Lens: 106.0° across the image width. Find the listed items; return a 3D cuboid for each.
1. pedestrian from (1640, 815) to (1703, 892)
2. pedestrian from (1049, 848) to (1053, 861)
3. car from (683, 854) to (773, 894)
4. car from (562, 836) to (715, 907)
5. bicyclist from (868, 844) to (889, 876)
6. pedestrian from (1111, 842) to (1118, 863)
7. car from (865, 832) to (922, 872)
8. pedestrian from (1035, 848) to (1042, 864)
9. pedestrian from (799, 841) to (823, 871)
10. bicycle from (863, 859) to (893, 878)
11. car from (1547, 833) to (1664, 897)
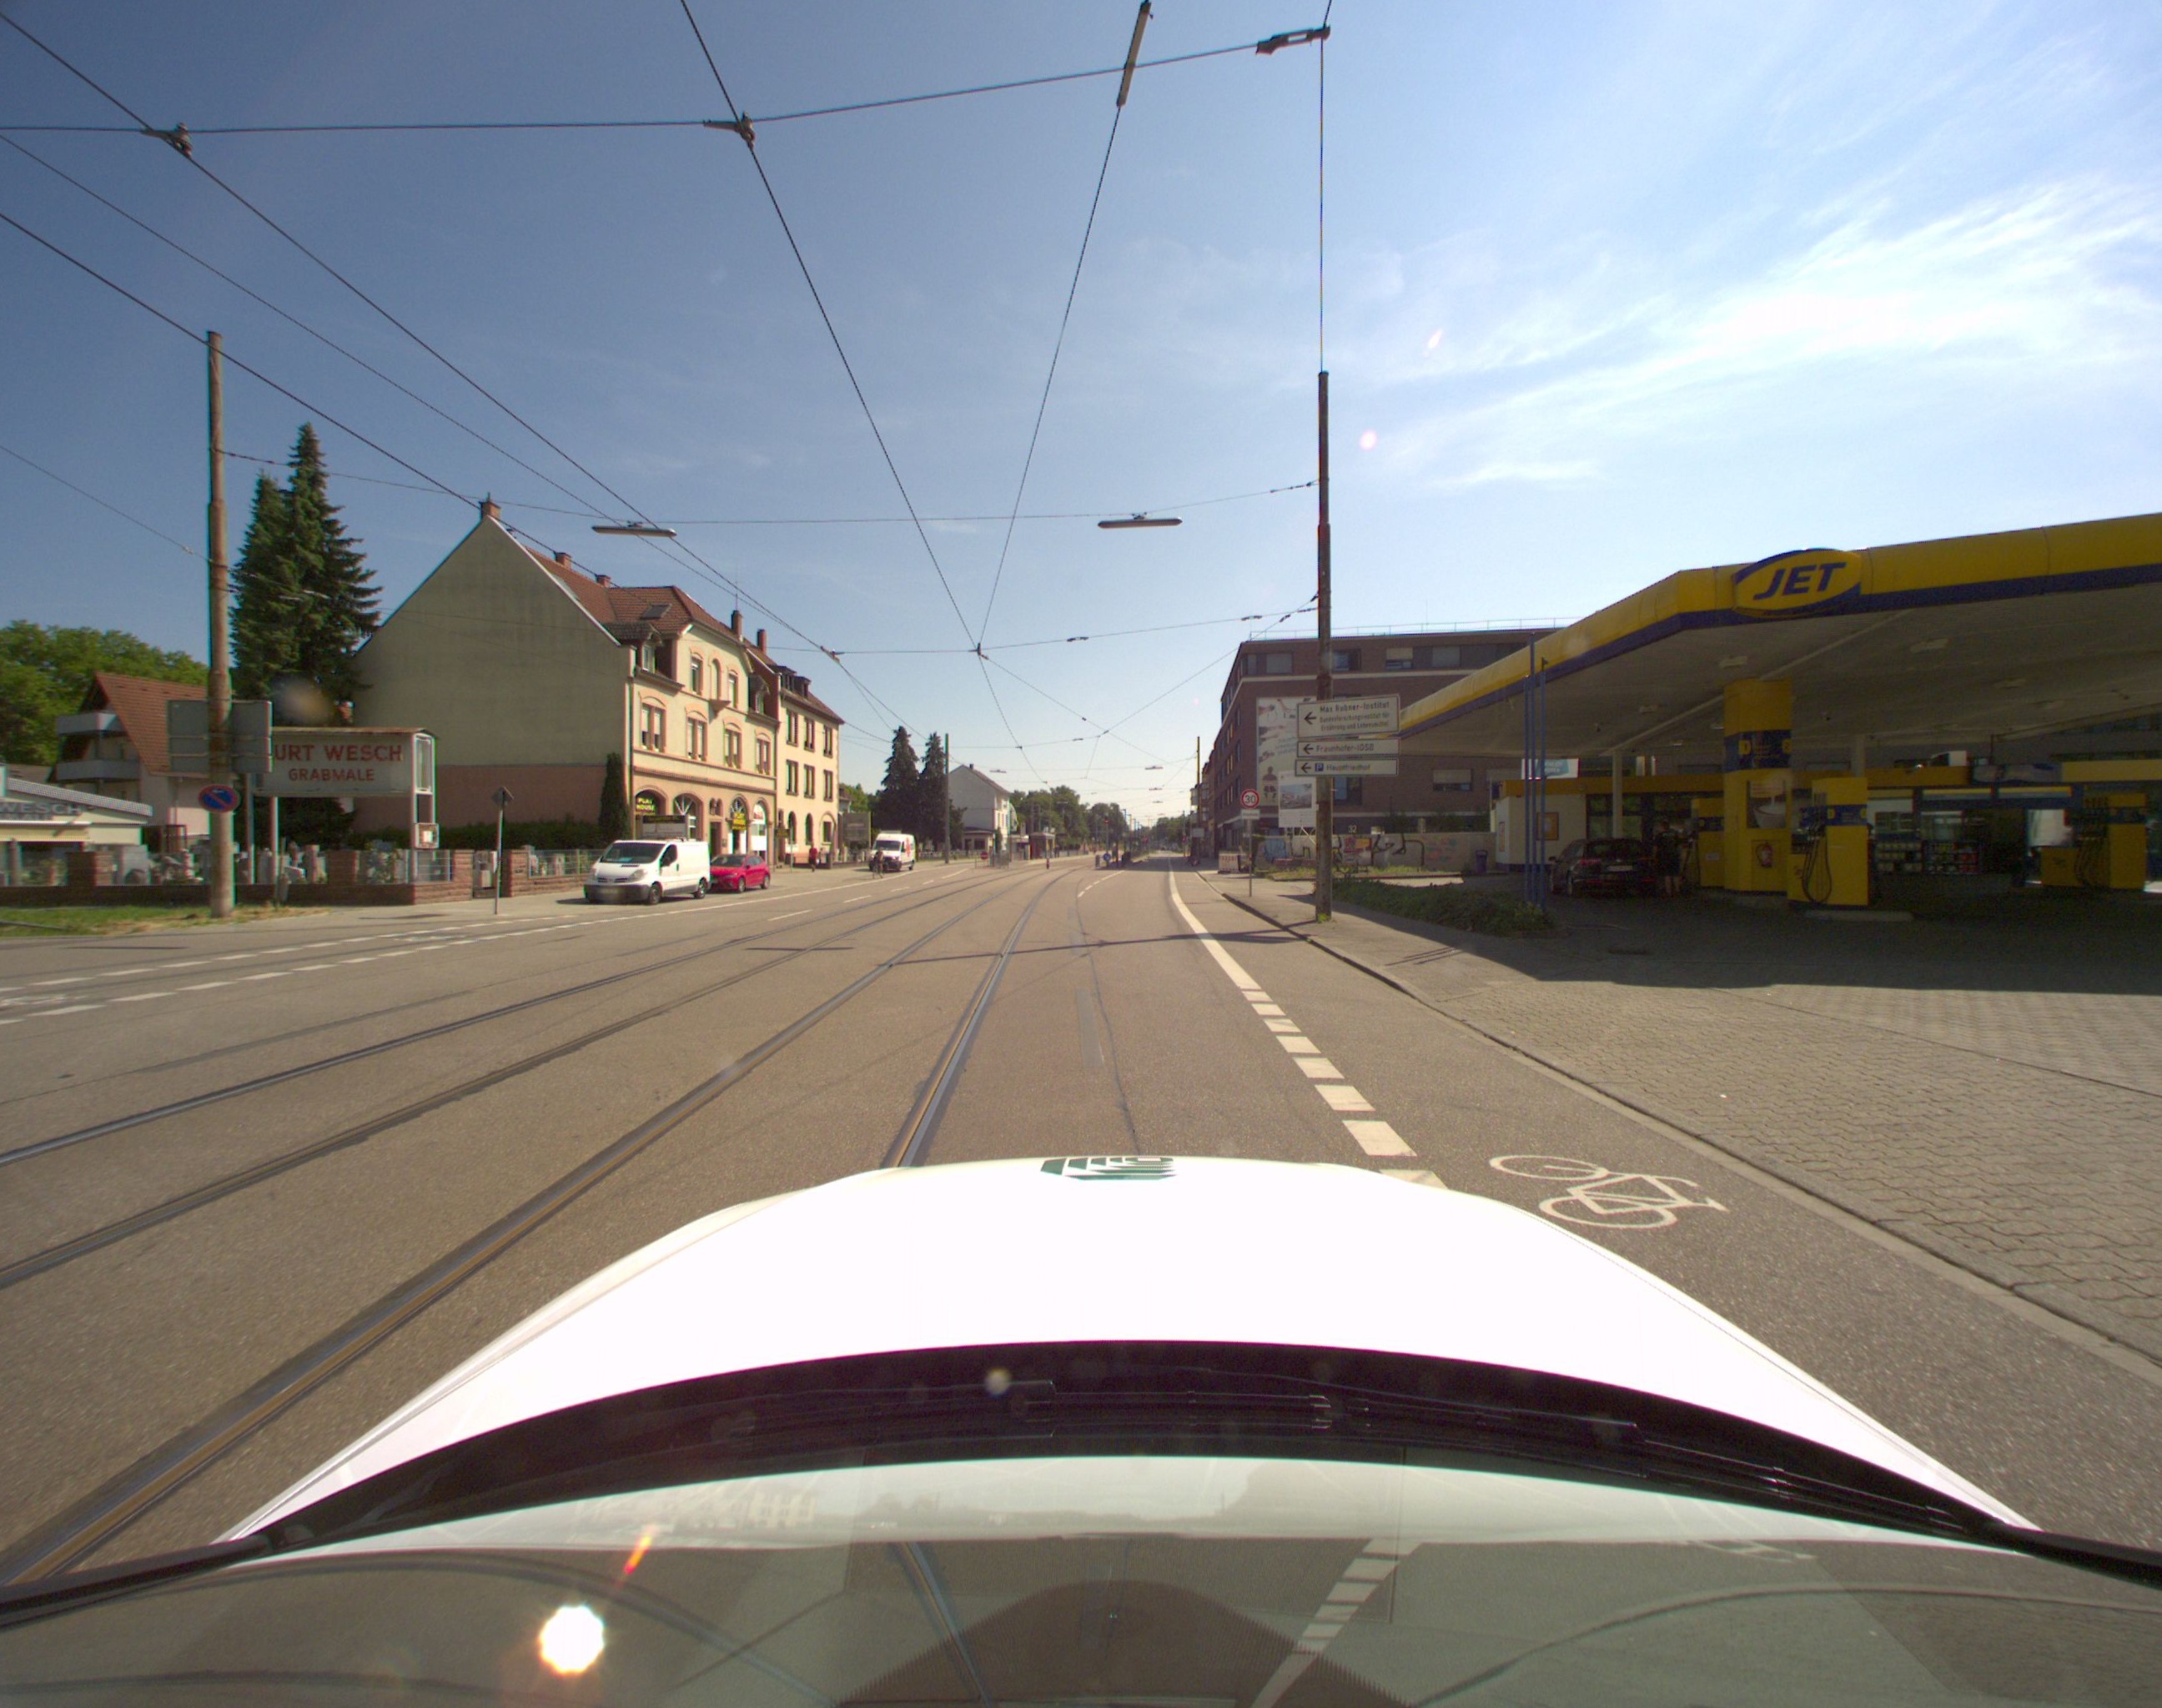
[{"bbox_3d":[13.985,-0.011,19.312,0.853,1.725,0.745,-4,0,1],"label":"pedestrian"},{"bbox_3d":[-3.701,0.055,100.030,0.415,1.690,0.706,0,0,-8],"label":"pedestrian"},{"bbox_3d":[-13.601,0.725,31.624,1.715,1.406,4.000,-1,0,0],"label":"car"},{"bbox_3d":[-13.639,0.480,25.521,2.077,2.013,4.908,0,0,0],"label":"car"},{"bbox_3d":[-10.825,0.311,43.607,0.711,1.724,0.991,-1,0,13],"label":"bicyclist"},{"bbox_3d":[2.928,-0.127,71.397,0.554,1.760,0.793,-1,0,0],"label":"pedestrian"},{"bbox_3d":[-12.747,-0.165,55.922,2.322,2.535,6.506,2,0,0],"label":"car"},{"bbox_3d":[-4.646,0.206,89.121,0.703,1.690,0.416,0,0,-2],"label":"pedestrian"},{"bbox_3d":[-16.151,0.116,48.761,0.937,1.815,1.133,0,0,8],"label":"pedestrian"},{"bbox_3d":[-10.858,0.768,43.616,0.604,0.984,2.172,-1,0,14],"label":"bicycle"},{"bbox_3d":[13.292,0.225,20.900,1.740,1.455,4.433,-1,1,22],"label":"car"}]
